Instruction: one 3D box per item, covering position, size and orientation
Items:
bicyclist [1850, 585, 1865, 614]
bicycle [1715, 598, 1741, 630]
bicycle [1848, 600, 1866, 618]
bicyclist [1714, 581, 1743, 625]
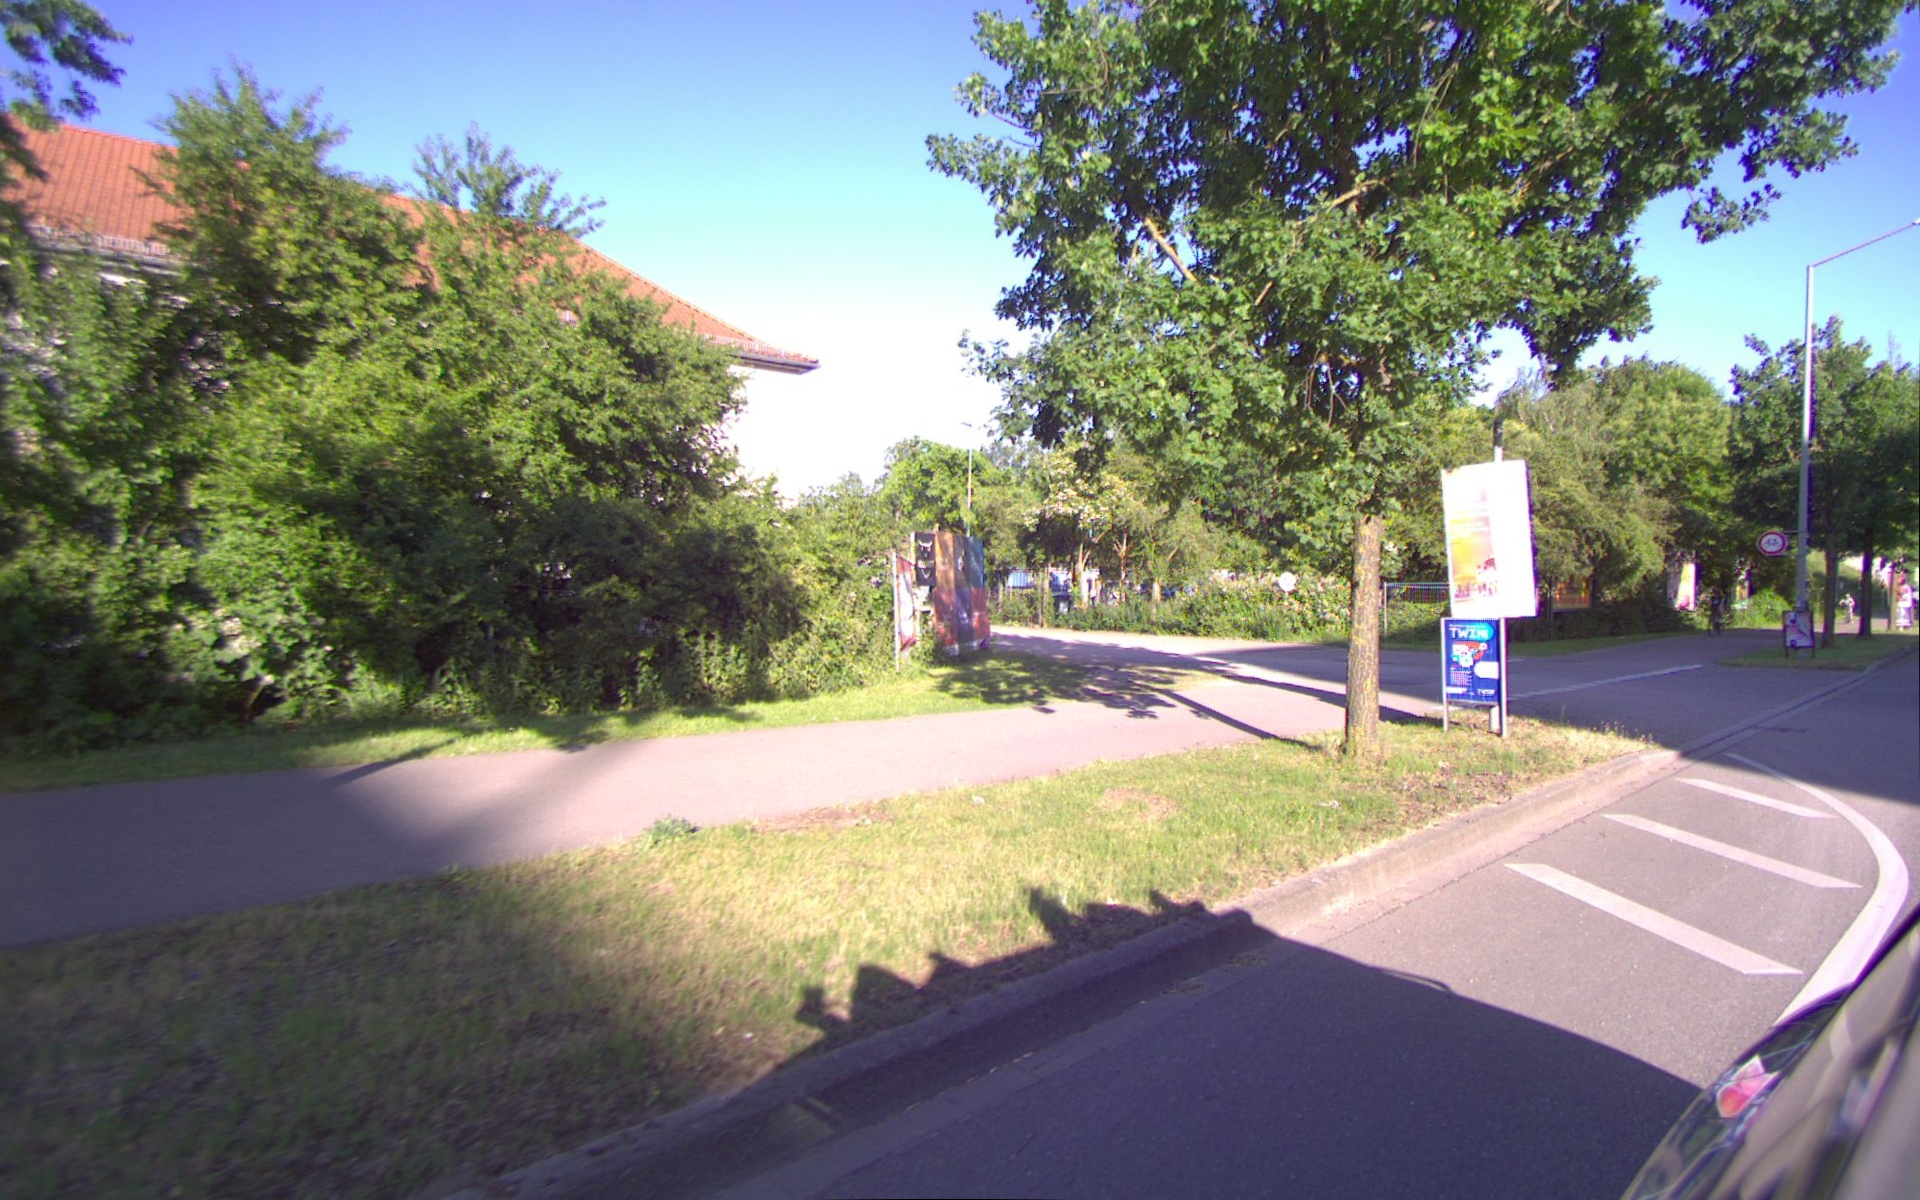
[{"bbox_3d":[50.487,-0.049,56.921,0.851,1.630,0.565,0,1,-43],"label":"bicyclist"},{"bbox_3d":[27.491,0.474,36.199,0.516,1.086,1.905,1,1,44],"label":"bicycle"},{"bbox_3d":[50.537,0.485,57.018,2.012,1.004,0.572,0,1,-43],"label":"bicycle"},{"bbox_3d":[27.375,0.089,36.042,0.685,1.541,1.019,1,1,44],"label":"bicyclist"}]
